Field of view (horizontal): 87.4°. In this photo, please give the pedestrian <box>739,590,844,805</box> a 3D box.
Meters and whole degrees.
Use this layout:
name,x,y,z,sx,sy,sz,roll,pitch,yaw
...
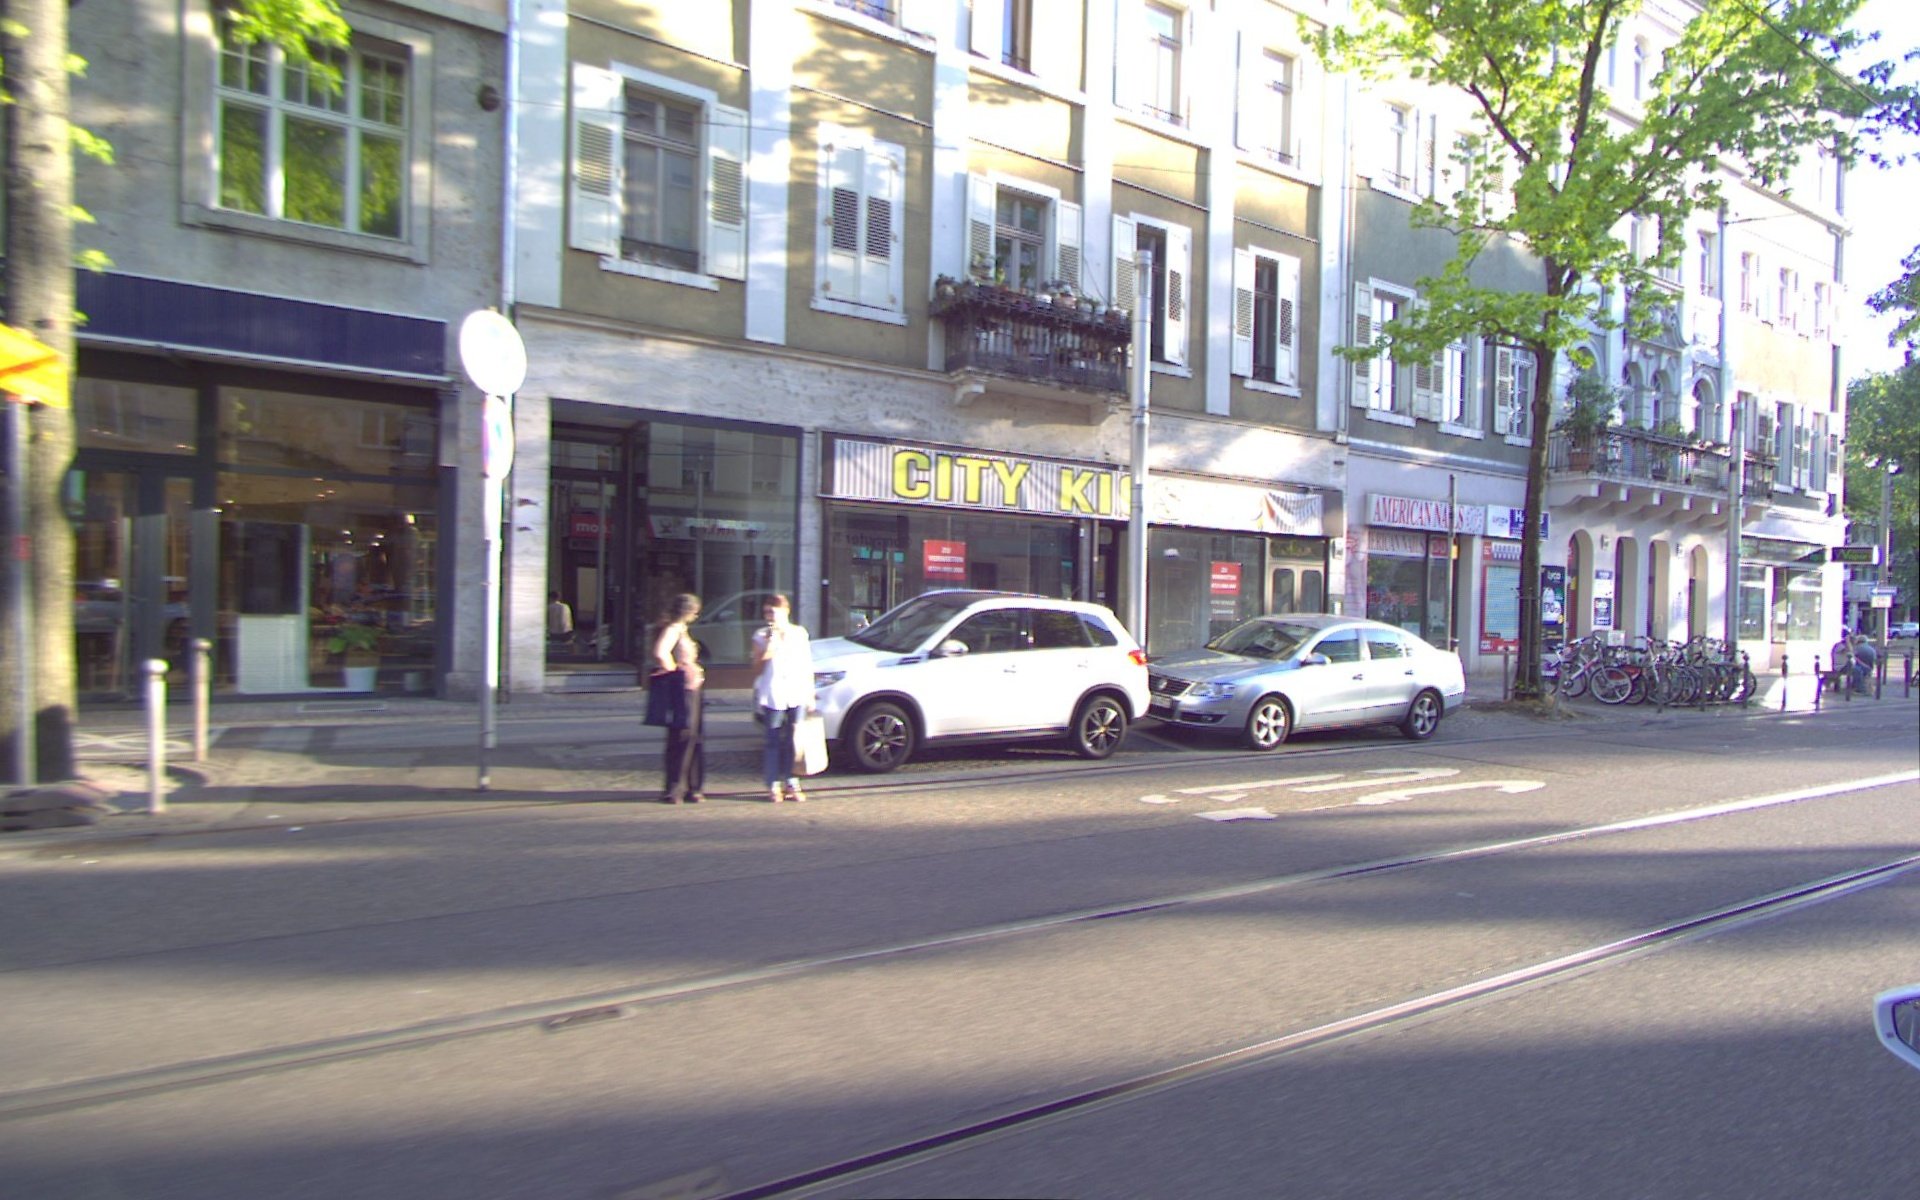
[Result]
name,x,y,z,sx,sy,sz,roll,pitch,yaw
pedestrian,-1.309,0.730,7.792,0.626,1.590,0.518,2,-1,-29

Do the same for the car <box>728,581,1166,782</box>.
name,x,y,z,sx,sy,sz,roll,pitch,yaw
car,-0.096,0.716,10.270,4.067,1.601,1.827,1,3,-30

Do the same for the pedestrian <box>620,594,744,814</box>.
name,x,y,z,sx,sy,sz,roll,pitch,yaw
pedestrian,-2.065,0.738,7.442,0.721,1.529,0.617,2,-1,-29

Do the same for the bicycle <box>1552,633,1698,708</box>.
name,x,y,z,sx,sy,sz,roll,pitch,yaw
bicycle,11.706,1.221,17.744,2.080,1.119,0.499,3,1,36

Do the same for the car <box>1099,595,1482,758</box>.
name,x,y,z,sx,sy,sz,roll,pitch,yaw
car,4.178,0.851,12.515,4.646,1.601,1.827,1,3,-30

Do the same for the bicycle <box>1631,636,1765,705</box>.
name,x,y,z,sx,sy,sz,roll,pitch,yaw
bicycle,13.988,1.307,19.108,0.494,1.119,2.016,2,1,-27

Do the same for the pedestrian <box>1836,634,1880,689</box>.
name,x,y,z,sx,sy,sz,roll,pitch,yaw
pedestrian,20.708,1.410,23.157,0.635,1.210,0.588,1,1,-32

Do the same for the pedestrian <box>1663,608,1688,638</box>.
name,x,y,z,sx,sy,sz,roll,pitch,yaw
pedestrian,34.803,1.124,48.855,0.730,1.429,0.772,1,0,12

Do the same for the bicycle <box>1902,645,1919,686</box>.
name,x,y,z,sx,sy,sz,roll,pitch,yaw
bicycle,23.876,1.615,24.903,1.491,0.958,0.335,1,0,-30

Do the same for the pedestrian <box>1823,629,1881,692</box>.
name,x,y,z,sx,sy,sz,roll,pitch,yaw
pedestrian,19.513,1.313,21.974,0.847,1.308,0.724,1,1,-32

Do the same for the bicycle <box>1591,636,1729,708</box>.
name,x,y,z,sx,sy,sz,roll,pitch,yaw
bicycle,12.752,1.283,18.352,1.997,1.119,0.499,3,1,36

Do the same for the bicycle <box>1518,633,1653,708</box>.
name,x,y,z,sx,sy,sz,roll,pitch,yaw
bicycle,10.864,1.201,17.483,1.919,1.119,0.565,3,1,36

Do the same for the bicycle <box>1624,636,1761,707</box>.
name,x,y,z,sx,sy,sz,roll,pitch,yaw
bicycle,13.567,1.299,18.673,0.494,1.119,2.016,2,1,-27

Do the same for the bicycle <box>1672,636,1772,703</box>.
name,x,y,z,sx,sy,sz,roll,pitch,yaw
bicycle,14.753,1.319,19.505,0.491,1.119,2.031,3,1,5

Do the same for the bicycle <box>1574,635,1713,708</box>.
name,x,y,z,sx,sy,sz,roll,pitch,yaw
bicycle,12.243,1.259,18.046,1.997,1.119,0.499,3,1,36
